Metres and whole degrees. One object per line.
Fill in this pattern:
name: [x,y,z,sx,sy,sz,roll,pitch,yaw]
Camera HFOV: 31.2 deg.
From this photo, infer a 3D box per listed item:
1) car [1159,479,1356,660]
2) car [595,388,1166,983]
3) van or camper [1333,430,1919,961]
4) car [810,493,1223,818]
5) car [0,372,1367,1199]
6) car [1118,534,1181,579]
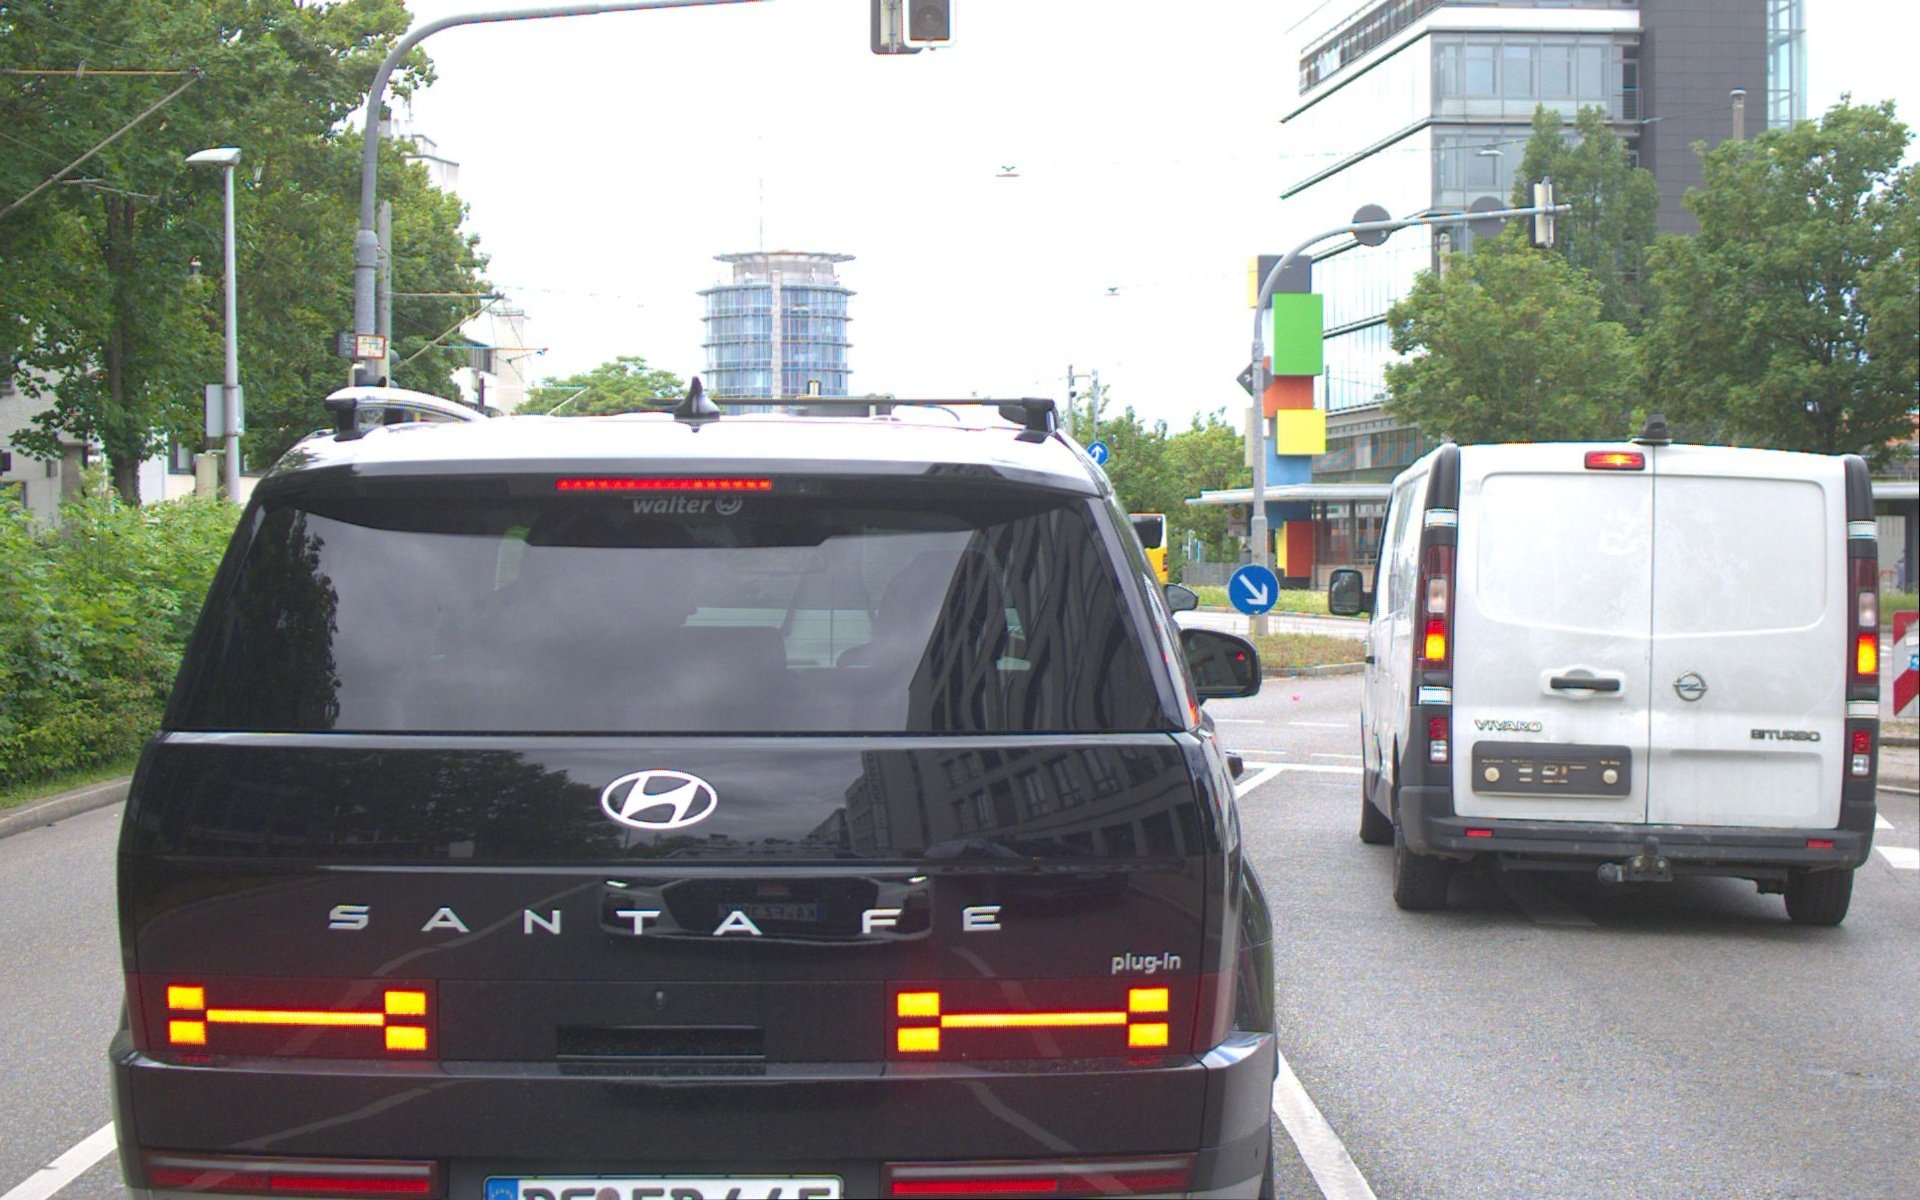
car: [3.451,-0.359,40.562,1.993,2.007,4.000,0,0,1]
car: [-0.288,0.254,13.514,1.915,1.996,3.880,0,1,-1]
van or camper: [2.793,0.321,15.444,1.994,2.007,4.652,1,1,4]
car: [0.455,0.275,20.484,1.776,1.711,4.336,1,0,10]
car: [-0.400,0.536,6.615,1.869,1.754,3.880,0,1,-1]
car: [7.243,-1.675,131.803,1.993,1.678,4.000,0,0,-3]
